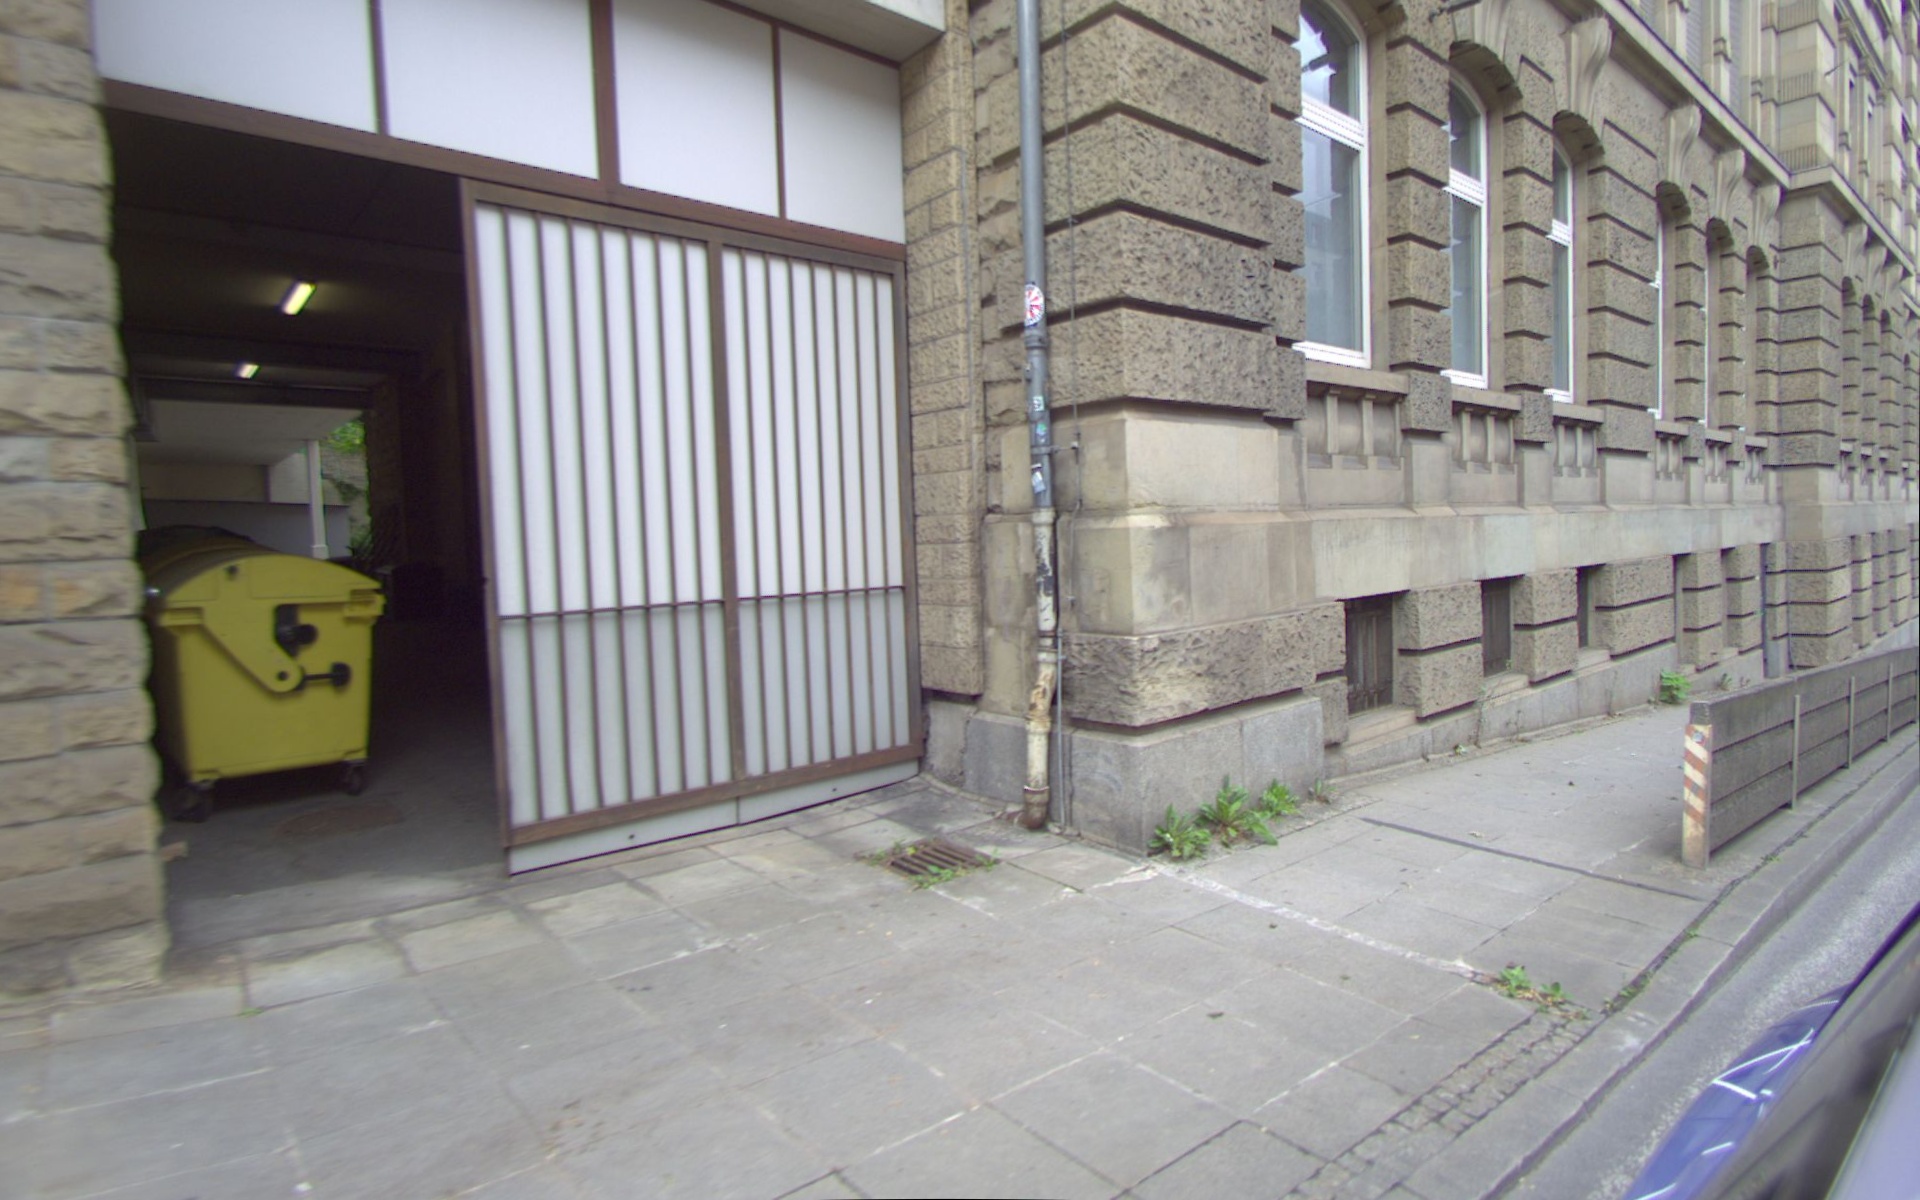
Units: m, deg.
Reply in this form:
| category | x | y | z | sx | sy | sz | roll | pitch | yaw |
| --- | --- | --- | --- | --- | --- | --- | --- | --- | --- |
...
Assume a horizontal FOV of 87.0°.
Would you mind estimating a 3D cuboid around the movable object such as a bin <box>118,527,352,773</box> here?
| category | x | y | z | sx | sy | sz | roll | pitch | yaw |
| --- | --- | --- | --- | --- | --- | --- | --- | --- | --- |
| movable object such as a bin | -5.139 | 0.251 | 7.159 | 1.139 | 1.485 | 1.429 | -4 | 7 | -43 |

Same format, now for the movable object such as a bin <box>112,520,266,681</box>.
| category | x | y | z | sx | sy | sz | roll | pitch | yaw |
| --- | --- | --- | --- | --- | --- | --- | --- | --- | --- |
| movable object such as a bin | -7.911 | -0.060 | 10.375 | 1.089 | 1.489 | 1.429 | -3 | 6 | -43 |

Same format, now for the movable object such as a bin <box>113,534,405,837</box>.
| category | x | y | z | sx | sy | sz | roll | pitch | yaw |
| --- | --- | --- | --- | --- | --- | --- | --- | --- | --- |
| movable object such as a bin | -4.171 | 0.379 | 6.011 | 1.186 | 1.478 | 1.429 | -4 | 7 | -43 |
